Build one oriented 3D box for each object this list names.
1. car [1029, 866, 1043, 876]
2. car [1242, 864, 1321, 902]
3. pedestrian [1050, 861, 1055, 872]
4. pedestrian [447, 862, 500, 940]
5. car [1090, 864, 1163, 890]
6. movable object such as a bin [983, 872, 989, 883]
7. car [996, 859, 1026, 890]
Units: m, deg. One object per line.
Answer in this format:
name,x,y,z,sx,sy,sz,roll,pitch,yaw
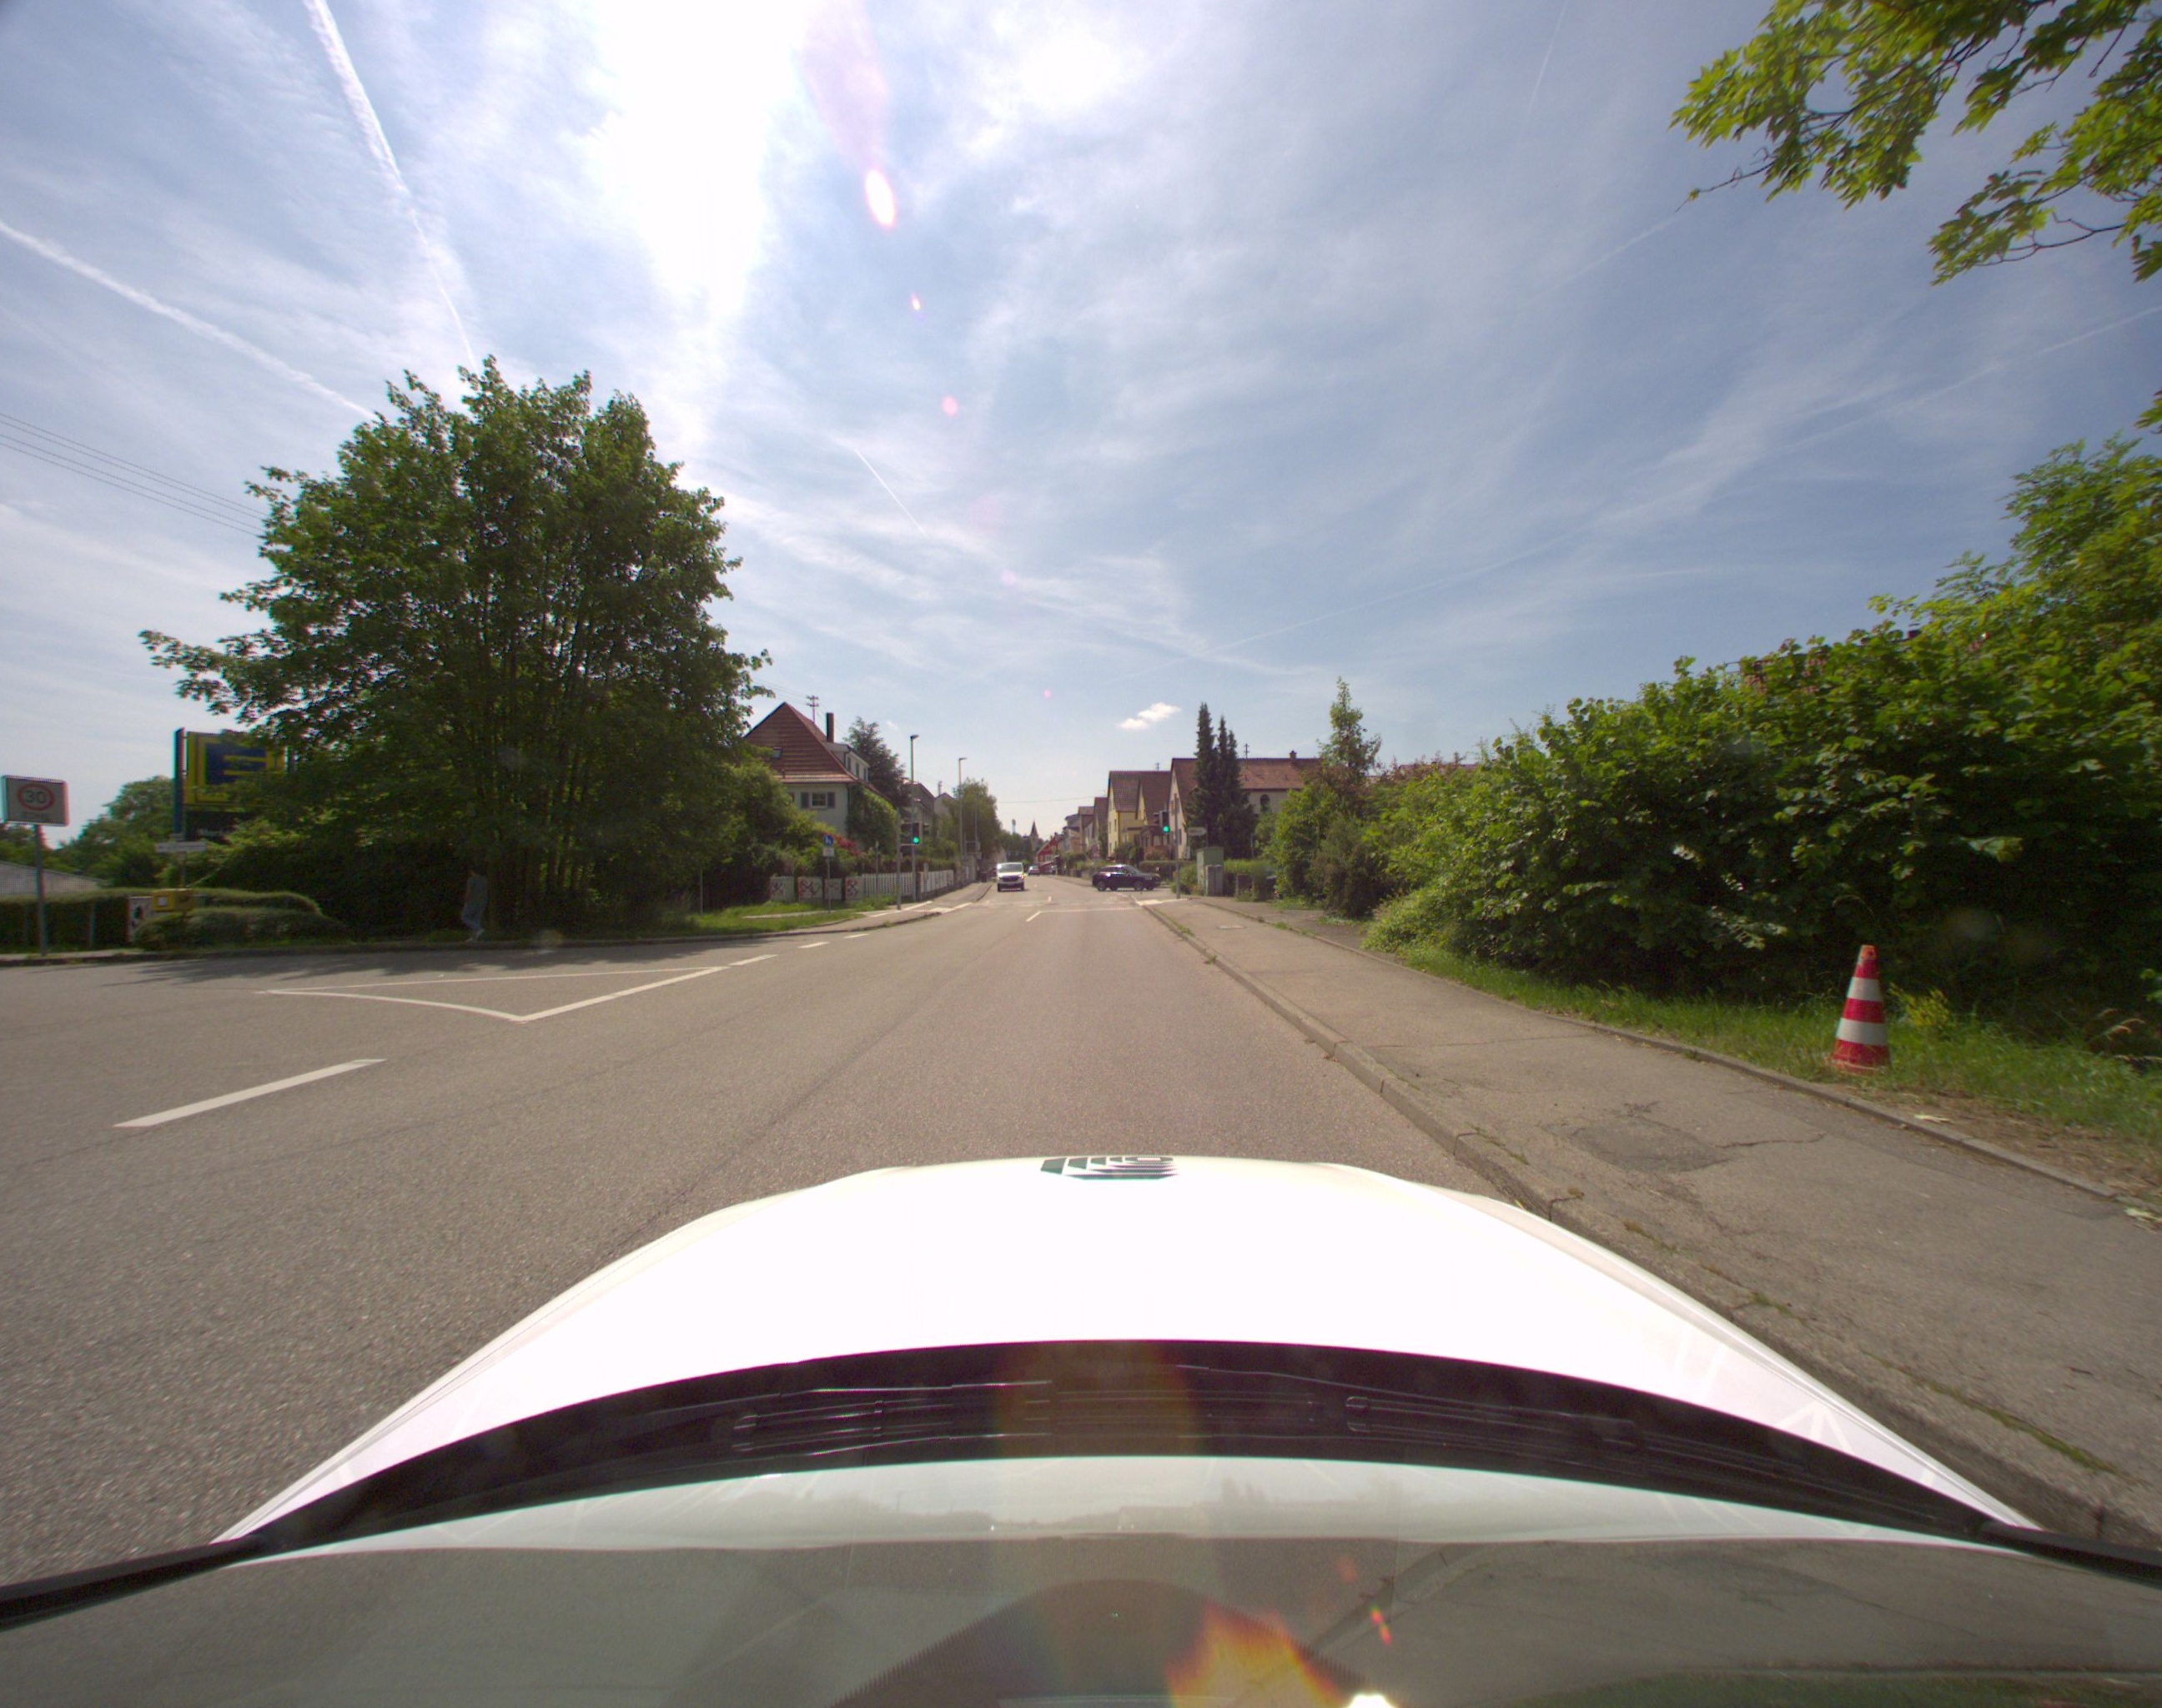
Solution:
car,-7.616,2.811,136.614,1.993,1.560,4.301,-1,-1,-8
car,8.670,1.321,35.506,1.711,1.552,4.046,1,-3,-13
pedestrian,-4.515,1.965,129.490,0.645,1.730,0.607,-4,0,-6
pedestrian,-14.382,1.099,19.283,0.729,1.777,0.693,-4,-2,19
car,2.794,1.424,50.671,4.250,1.541,1.549,-2,0,28
movable object such as a bin,-9.837,2.401,84.081,0.607,1.046,0.723,0,0,-6
car,-4.951,1.466,57.130,1.877,1.965,4.892,-3,-1,-6
